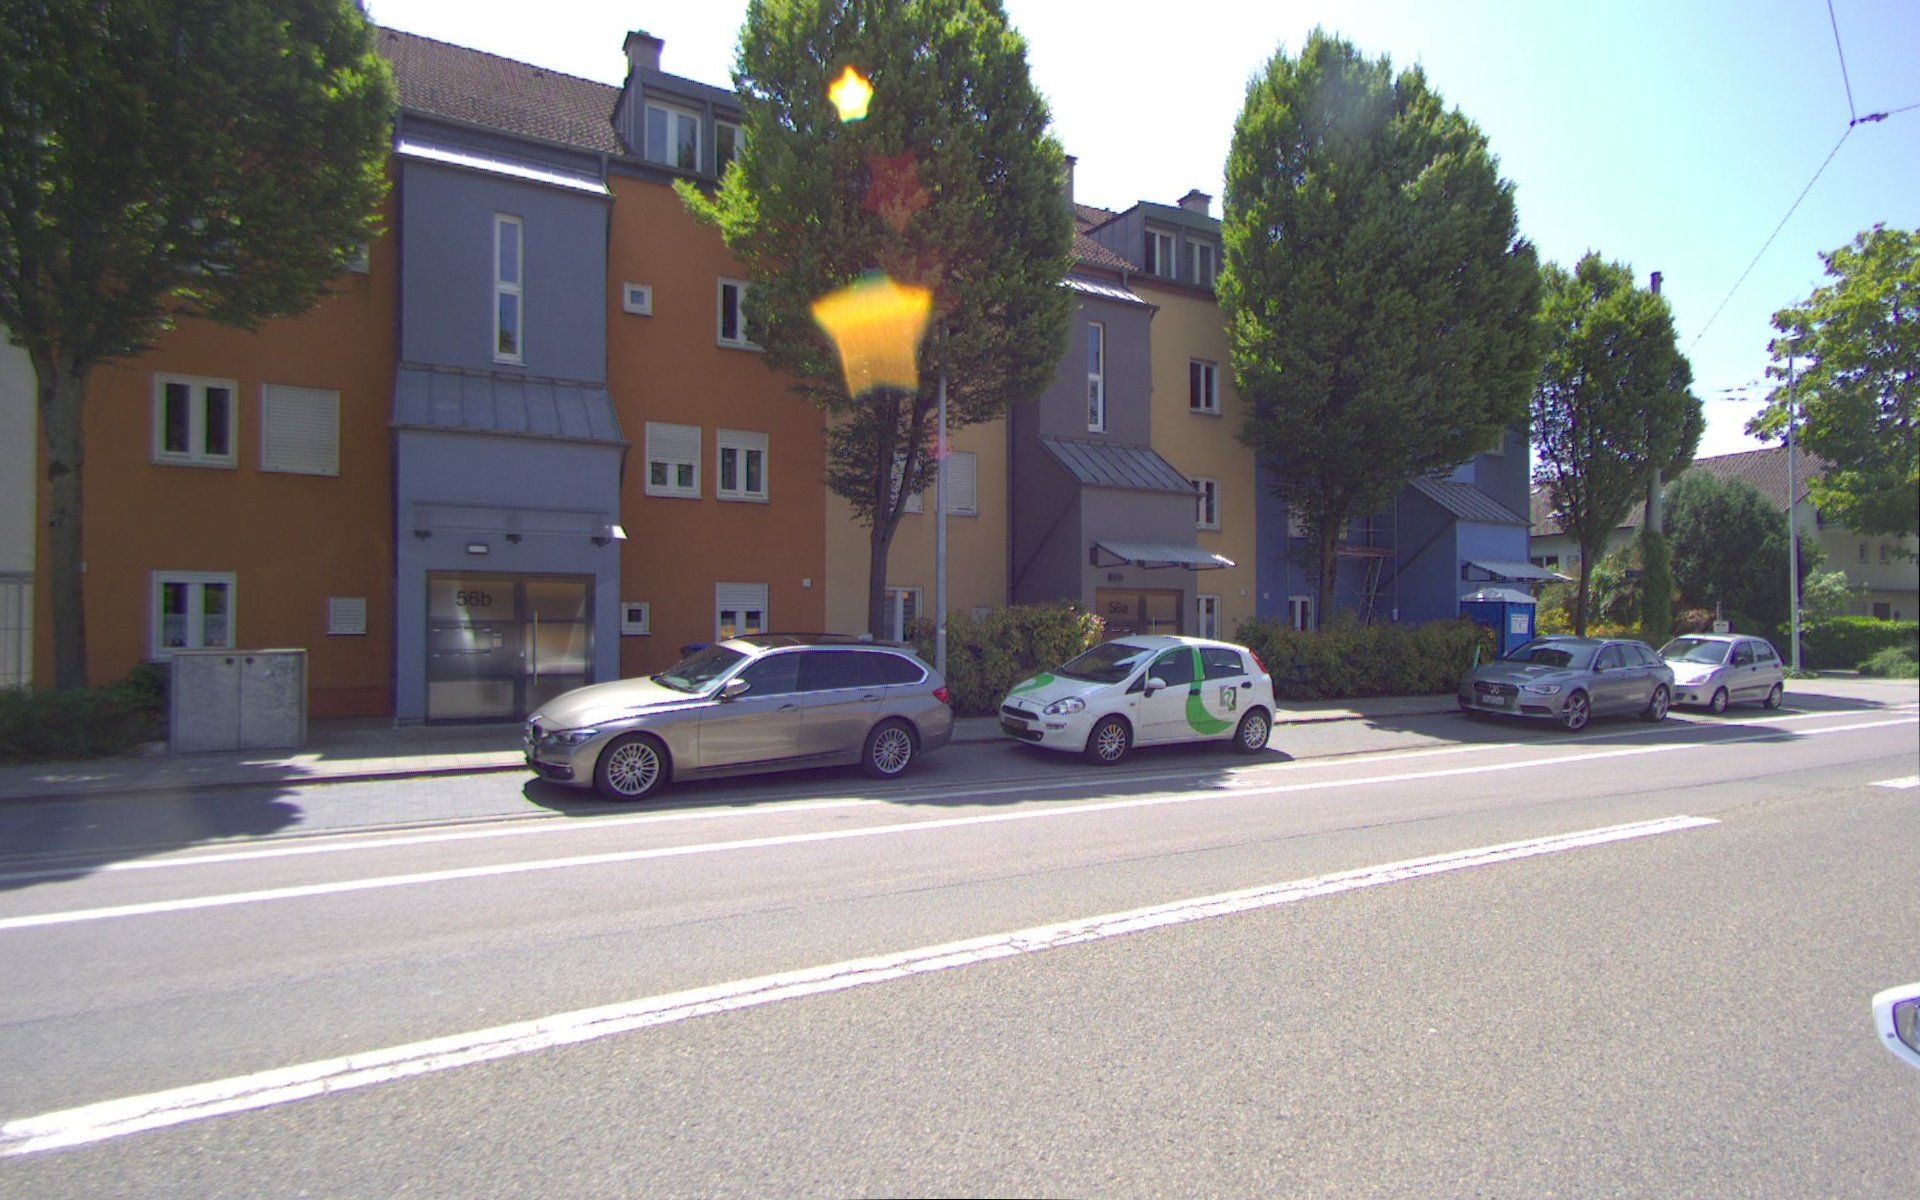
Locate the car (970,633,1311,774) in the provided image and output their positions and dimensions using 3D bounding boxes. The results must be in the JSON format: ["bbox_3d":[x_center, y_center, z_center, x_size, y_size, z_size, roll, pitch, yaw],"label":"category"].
[{"bbox_3d":[2.471,1.256,13.421,4.368,1.462,1.737,1,3,-30],"label":"car"}]

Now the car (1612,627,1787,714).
[{"bbox_3d":[15.238,1.386,20.684,3.407,1.516,1.585,1,3,-30],"label":"car"}]

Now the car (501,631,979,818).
[{"bbox_3d":[-2.227,1.145,10.745,4.700,1.449,1.693,1,3,-33],"label":"car"}]

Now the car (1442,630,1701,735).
[{"bbox_3d":[11.048,1.381,18.043,5.073,1.470,1.777,0,3,-31],"label":"car"}]
